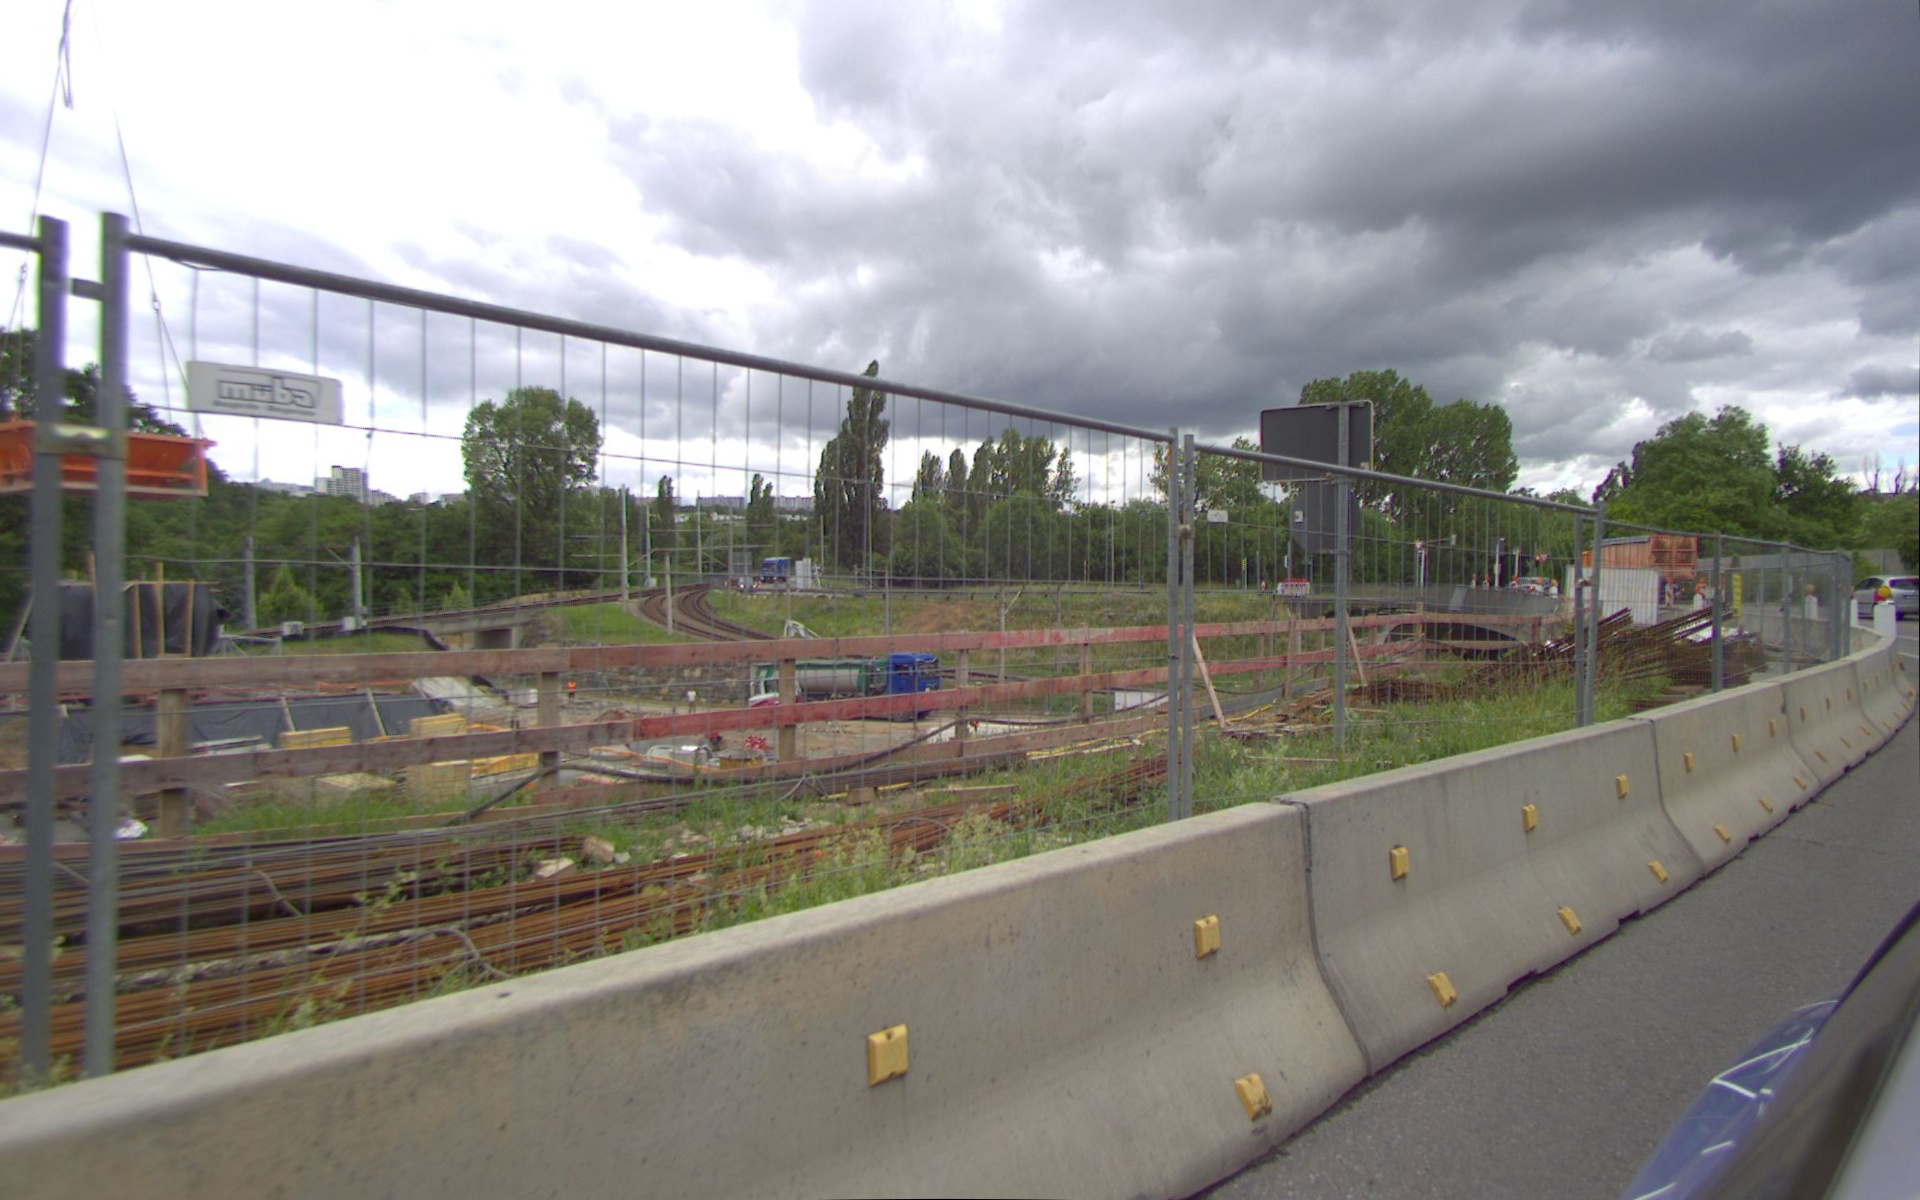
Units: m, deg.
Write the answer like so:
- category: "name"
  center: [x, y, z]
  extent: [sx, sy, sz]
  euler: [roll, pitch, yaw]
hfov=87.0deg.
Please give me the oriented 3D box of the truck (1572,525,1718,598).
- category: "truck"
  center: [40.655, -2.197, 60.596]
  extent: [2.990, 3.946, 9.983]
  euler: [-1, 1, 7]

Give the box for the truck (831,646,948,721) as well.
- category: "truck"
  center: [-3.937, 4.540, 56.013]
  extent: [6.075, 3.810, 2.396]
  euler: [-2, 0, 29]

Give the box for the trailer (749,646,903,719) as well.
- category: "trailer"
  center: [-7.803, 4.663, 58.139]
  extent: [9.056, 3.810, 2.396]
  euler: [-2, 0, 29]

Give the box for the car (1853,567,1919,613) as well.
- category: "car"
  center: [34.249, -0.397, 36.621]
  extent: [1.876, 1.583, 4.063]
  euler: [-1, 1, 27]

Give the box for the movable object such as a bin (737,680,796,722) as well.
- category: "movable object such as a bin"
  center: [-10.298, 5.352, 53.896]
  extent: [2.401, 1.851, 1.997]
  euler: [-2, 1, -41]

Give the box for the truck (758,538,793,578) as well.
- category: "truck"
  center: [-25.814, -5.951, 141.862]
  extent: [2.888, 3.139, 8.197]
  euler: [7, 17, 0]
